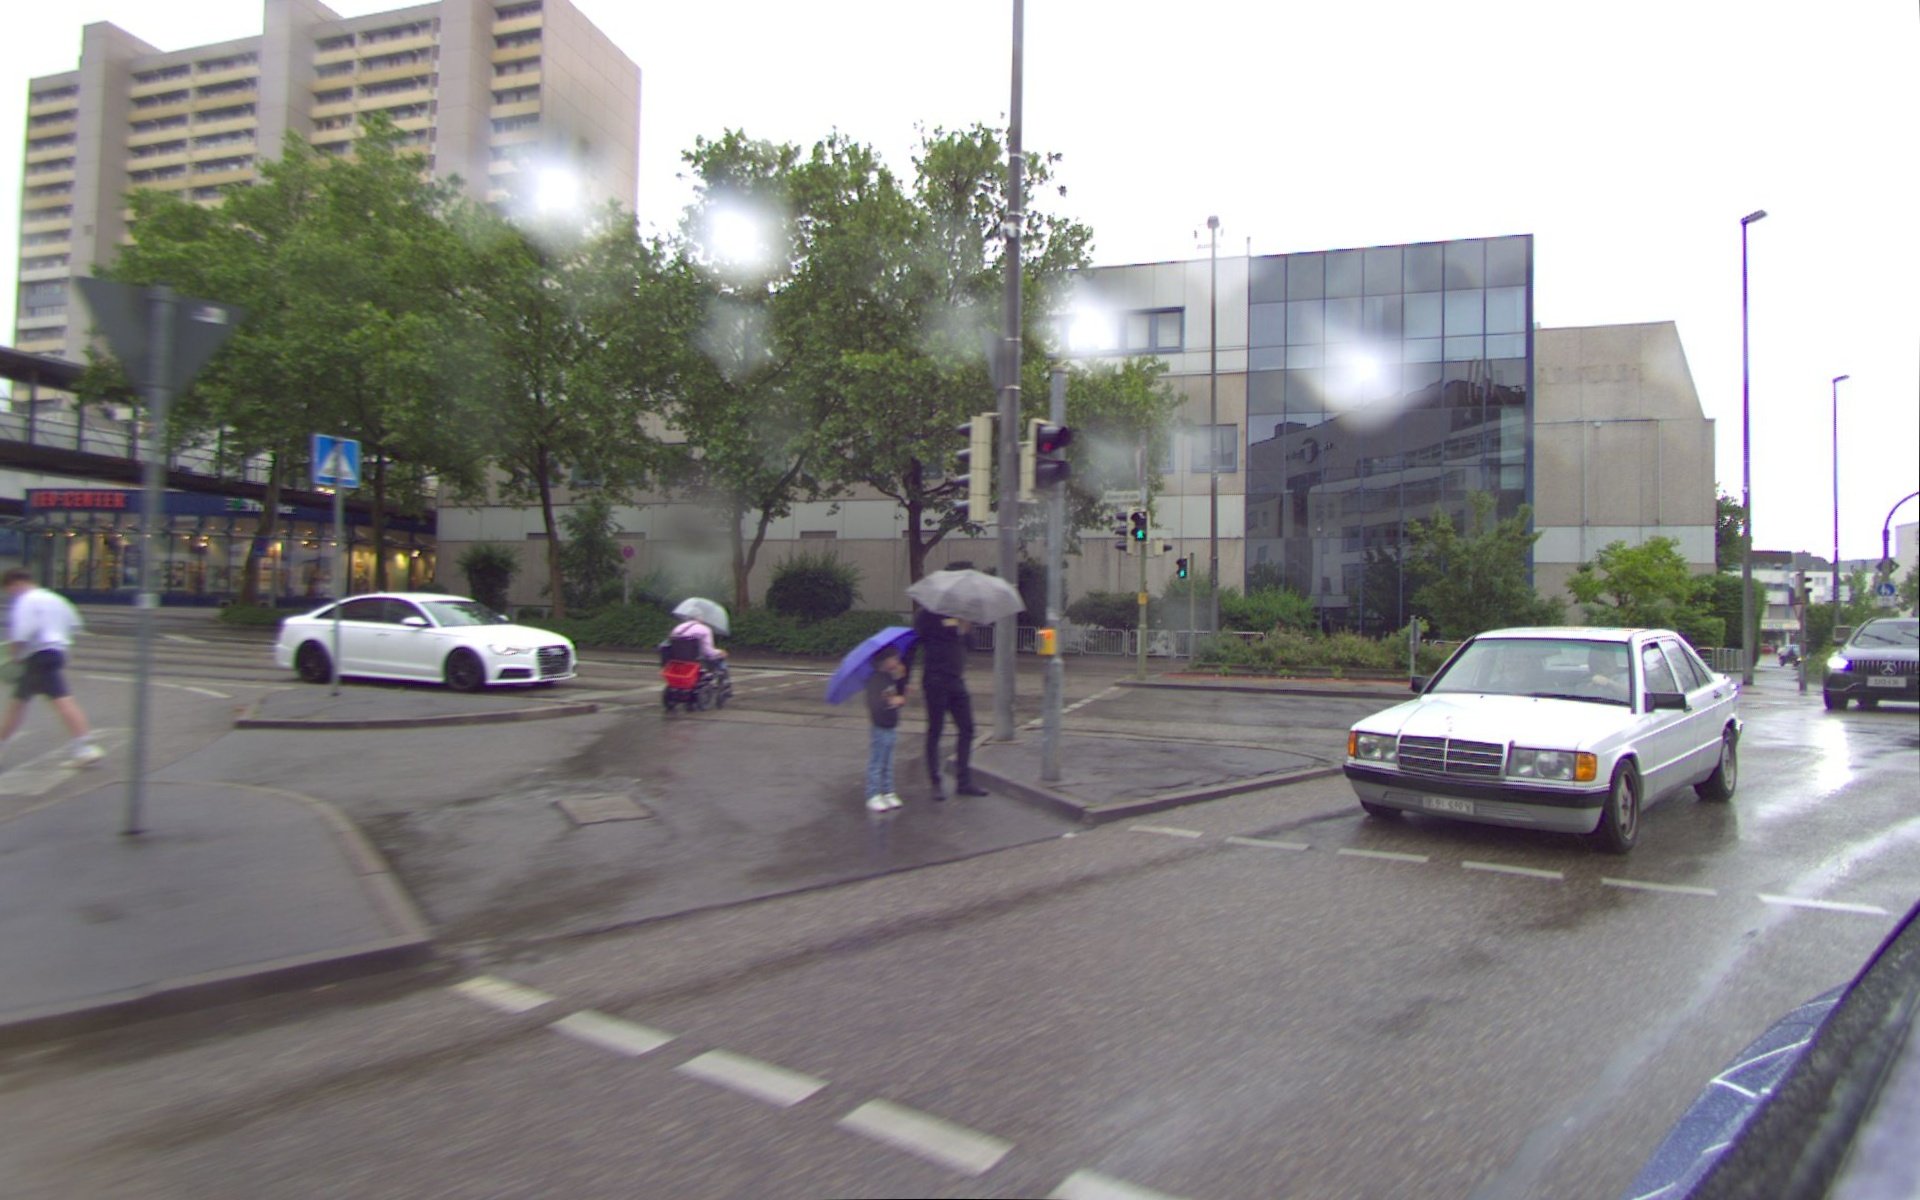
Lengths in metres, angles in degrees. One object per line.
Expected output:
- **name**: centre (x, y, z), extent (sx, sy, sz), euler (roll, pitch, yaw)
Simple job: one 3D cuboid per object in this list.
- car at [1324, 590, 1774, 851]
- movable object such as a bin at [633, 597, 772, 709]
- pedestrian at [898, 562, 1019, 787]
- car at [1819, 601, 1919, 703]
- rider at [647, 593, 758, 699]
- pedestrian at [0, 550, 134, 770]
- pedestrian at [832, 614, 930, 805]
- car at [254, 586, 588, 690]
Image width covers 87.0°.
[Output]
- **car**: centre (4.639, 0.777, 7.704), extent (4.192, 1.467, 1.636), euler (3, -4, -40)
- **movable object such as a bin**: centre (-3.408, 0.650, 13.406), extent (1.429, 1.348, 1.132), euler (0, 2, -41)
- **pedestrian**: centre (-0.016, 0.541, 7.828), extent (0.643, 1.628, 0.709), euler (1, -1, -37)
- **car**: centre (16.831, 0.886, 17.822), extent (4.258, 1.642, 1.904), euler (2, -3, -41)
- **rider**: centre (-3.417, 0.593, 13.415), extent (1.071, 1.301, 0.924), euler (3, 0, -41)
- **pedestrian**: centre (-7.618, 0.475, 8.335), extent (1.106, 1.713, 0.831), euler (1, -2, -31)
- **pedestrian**: centre (-0.582, 0.794, 7.606), extent (0.696, 1.363, 0.656), euler (0, -1, -2)
- **car**: centre (-8.364, 0.517, 15.758), extent (4.724, 1.424, 1.803), euler (1, 0, 17)
